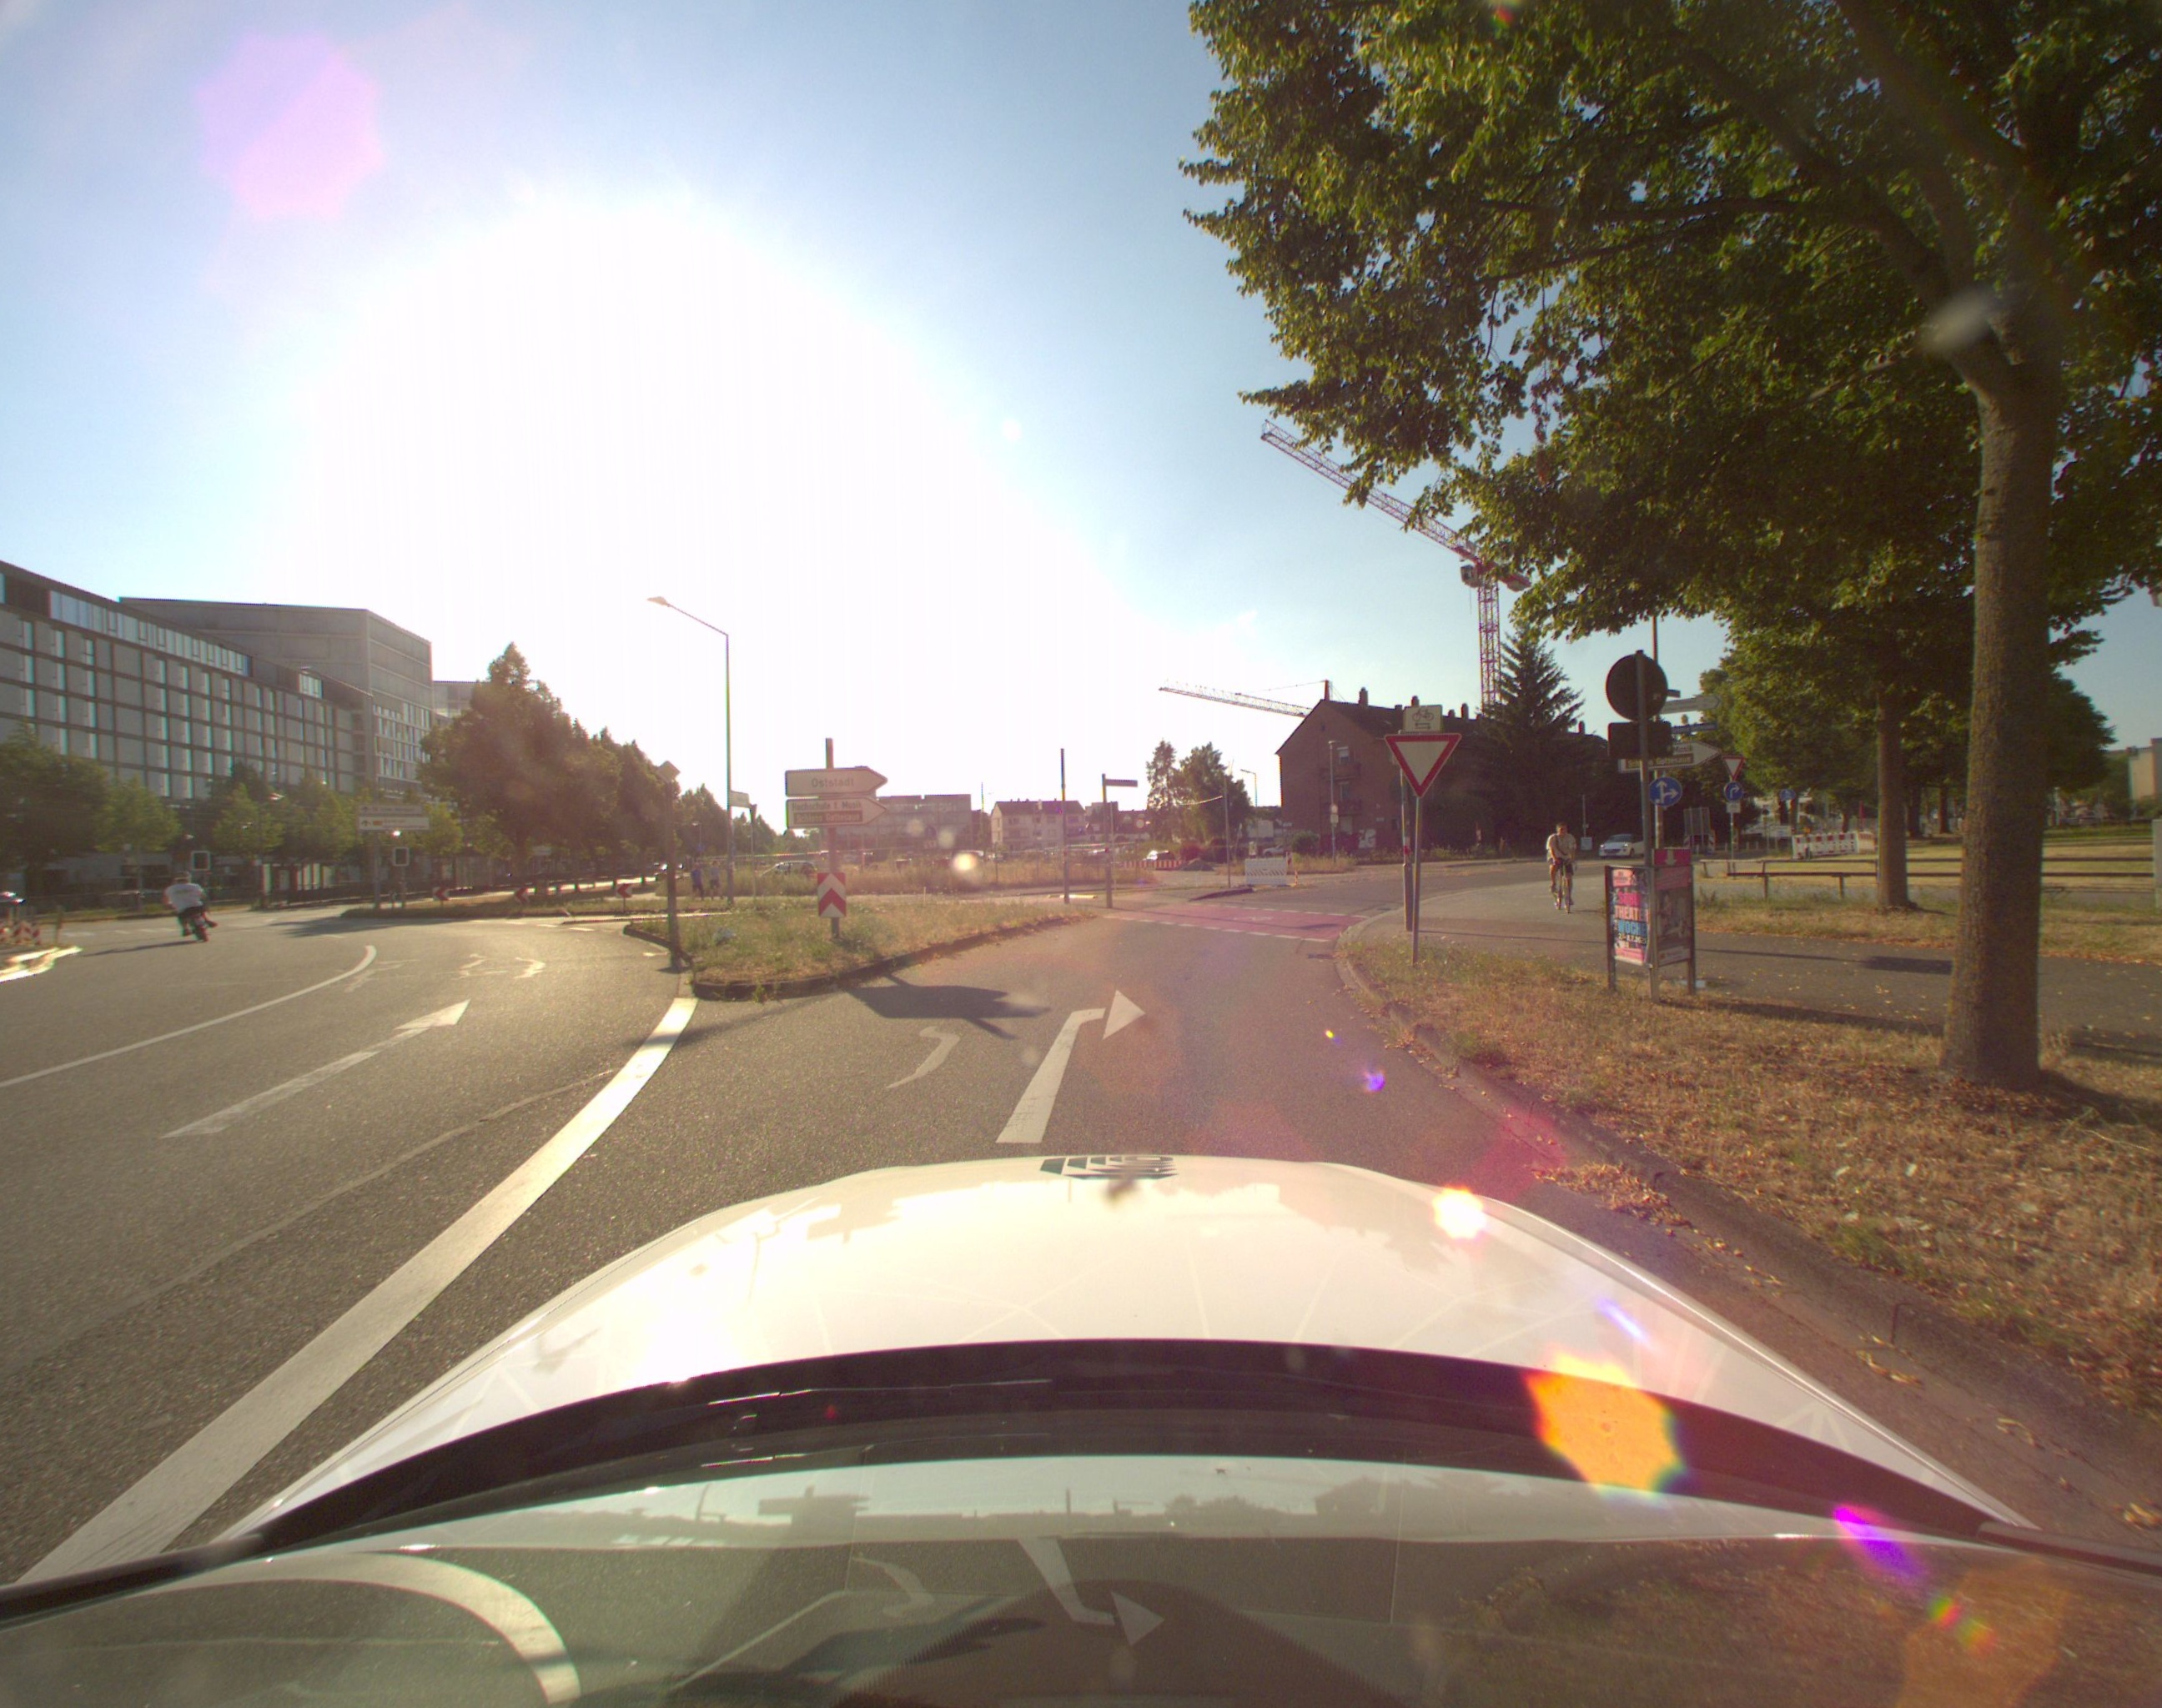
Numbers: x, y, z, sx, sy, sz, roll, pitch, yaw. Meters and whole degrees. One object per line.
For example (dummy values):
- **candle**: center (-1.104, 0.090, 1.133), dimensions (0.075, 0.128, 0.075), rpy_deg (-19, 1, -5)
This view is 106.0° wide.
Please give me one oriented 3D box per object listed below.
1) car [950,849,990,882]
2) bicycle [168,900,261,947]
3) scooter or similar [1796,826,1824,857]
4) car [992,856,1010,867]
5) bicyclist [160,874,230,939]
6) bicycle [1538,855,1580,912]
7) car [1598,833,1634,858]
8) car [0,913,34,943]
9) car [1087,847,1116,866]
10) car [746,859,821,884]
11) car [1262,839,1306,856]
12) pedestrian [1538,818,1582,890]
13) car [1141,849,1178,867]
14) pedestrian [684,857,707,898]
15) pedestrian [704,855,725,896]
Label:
- **car**: center (-7.347, 0.709, 54.434), dimensions (1.988, 2.013, 5.311), rpy_deg (-2, 0, -1)
- **bicycle**: center (-20.122, 1.590, 18.960), dimensions (0.852, 0.928, 1.706), rpy_deg (-2, 0, -23)
- **scooter or similar**: center (31.293, -0.550, 34.941), dimensions (1.469, 1.292, 0.555), rpy_deg (-2, 0, -35)
- **car**: center (-13.651, 1.276, 138.315), dimensions (2.152, 1.838, 4.335), rpy_deg (-2, 0, -18)
- **bicyclist**: center (-20.348, 1.192, 18.721), dimensions (0.871, 1.410, 0.624), rpy_deg (-1, 0, -21)
- **bicycle**: center (9.783, 0.571, 16.699), dimensions (0.527, 1.055, 1.925), rpy_deg (-4, -1, 26)
- **car**: center (32.506, -0.530, 49.487), dimensions (1.742, 1.421, 3.648), rpy_deg (-1, 2, 34)
- **car**: center (-62.056, 4.281, 45.989), dimensions (1.556, 1.574, 3.333), rpy_deg (-2, 0, -5)
- **car**: center (2.230, 0.295, 90.331), dimensions (1.869, 1.947, 3.973), rpy_deg (-2, 0, -20)
- **car**: center (-19.007, 1.131, 52.074), dimensions (4.254, 1.363, 1.982), rpy_deg (-3, 0, -27)
- **car**: center (20.721, -0.630, 83.075), dimensions (3.952, 1.530, 2.011), rpy_deg (-2, 0, 22)
- **pedestrian**: center (9.666, -0.003, 16.456), dimensions (0.645, 1.391, 0.772), rpy_deg (-4, -1, 26)
- **car**: center (7.153, 0.378, 74.615), dimensions (1.998, 1.552, 3.978), rpy_deg (-2, 0, -16)
- **pedestrian**: center (-16.614, 0.985, 35.097), dimensions (0.788, 1.708, 0.805), rpy_deg (-2, 0, -27)
- **pedestrian**: center (-16.183, 0.942, 35.996), dimensions (0.761, 1.775, 0.765), rpy_deg (-2, 0, -27)
